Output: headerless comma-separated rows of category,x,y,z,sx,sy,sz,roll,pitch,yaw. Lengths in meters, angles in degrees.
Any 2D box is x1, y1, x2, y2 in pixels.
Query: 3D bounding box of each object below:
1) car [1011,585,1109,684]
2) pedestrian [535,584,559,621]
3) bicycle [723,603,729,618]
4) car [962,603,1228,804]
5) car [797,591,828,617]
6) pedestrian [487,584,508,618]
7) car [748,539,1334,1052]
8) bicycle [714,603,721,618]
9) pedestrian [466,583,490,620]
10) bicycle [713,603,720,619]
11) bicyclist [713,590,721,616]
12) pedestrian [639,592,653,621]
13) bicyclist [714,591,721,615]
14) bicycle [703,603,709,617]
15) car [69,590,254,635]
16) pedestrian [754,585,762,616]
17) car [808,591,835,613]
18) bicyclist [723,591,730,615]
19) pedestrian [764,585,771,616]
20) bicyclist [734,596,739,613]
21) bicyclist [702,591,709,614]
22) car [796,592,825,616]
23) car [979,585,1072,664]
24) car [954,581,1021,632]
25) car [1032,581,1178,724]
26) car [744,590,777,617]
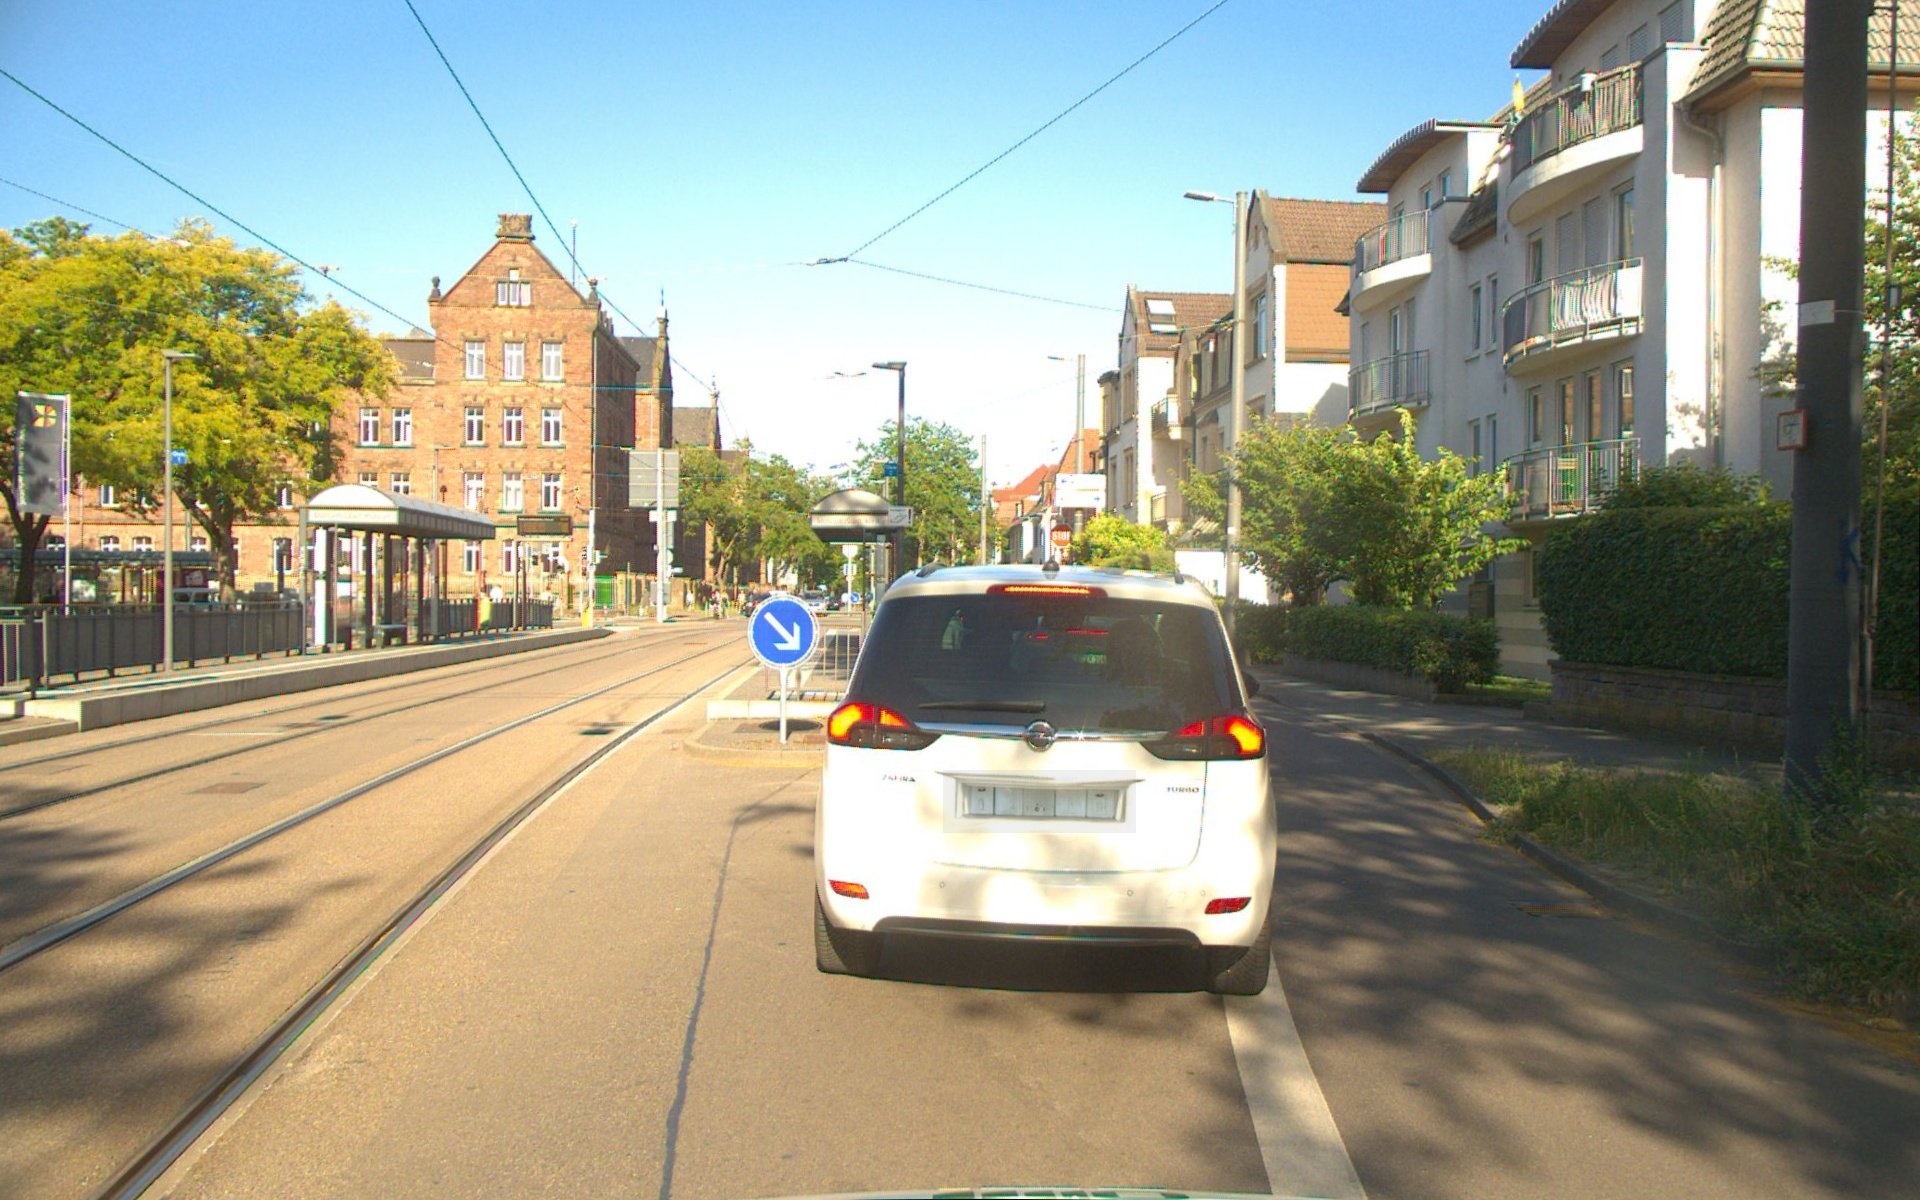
car,1.712,0.557,29.255,1.603,1.629,3.855,0,0,1
pedestrian,-19.795,0.116,79.267,0.877,1.713,1.029,1,0,-1
bicycle,-15.392,0.686,108.902,0.337,0.966,0.996,1,0,-4
car,1.029,0.753,13.968,1.912,1.422,4.001,0,0,1
car,-9.545,0.258,107.143,1.955,1.657,3.996,0,0,-5
pedestrian,-22.439,0.053,80.275,0.786,1.616,0.934,1,0,-3
car,0.454,0.652,7.580,1.951,1.673,3.996,1,0,6
bicycle,-15.610,0.671,106.349,0.337,0.966,0.996,1,0,-4
pedestrian,-22.616,0.068,77.656,0.825,1.721,1.029,1,0,-1
bicycle,-15.161,0.664,102.823,0.337,0.966,1.159,1,0,-4
bicyclist,-15.152,0.189,103.032,0.435,1.580,0.742,0,0,-4
pedestrian,-18.979,0.390,100.073,0.720,1.744,0.706,1,-1,-4
bicyclist,-15.573,0.197,106.307,0.435,1.580,0.495,0,0,-4
bicycle,-17.653,0.673,114.843,0.337,0.966,0.996,1,0,-4
car,-35.725,0.538,74.175,6.810,1.954,2.991,0,0,-2
pedestrian,-13.645,0.019,111.729,0.435,2.049,0.495,0,0,-4
car,-10.939,0.157,130.467,1.953,1.657,3.998,0,0,-3
bicyclist,-15.382,0.211,108.895,0.435,1.580,0.495,0,0,-4
pedestrian,-13.056,0.031,112.033,0.435,2.049,0.495,0,0,-4
bicyclist,-17.800,0.368,131.856,0.352,1.326,0.397,0,0,-4
bicyclist,-17.647,0.197,114.807,0.435,1.580,0.495,0,0,-4
car,-10.349,0.275,114.237,1.955,1.657,3.996,0,0,-5
car,1.378,0.499,36.174,1.793,1.607,4.009,0,0,-1
car,0.828,0.200,51.751,1.953,1.529,3.999,0,0,-1
car,1.739,0.591,20.827,1.603,1.629,3.855,0,0,1
car,-12.855,0.208,106.870,1.955,1.657,3.996,0,0,-5
